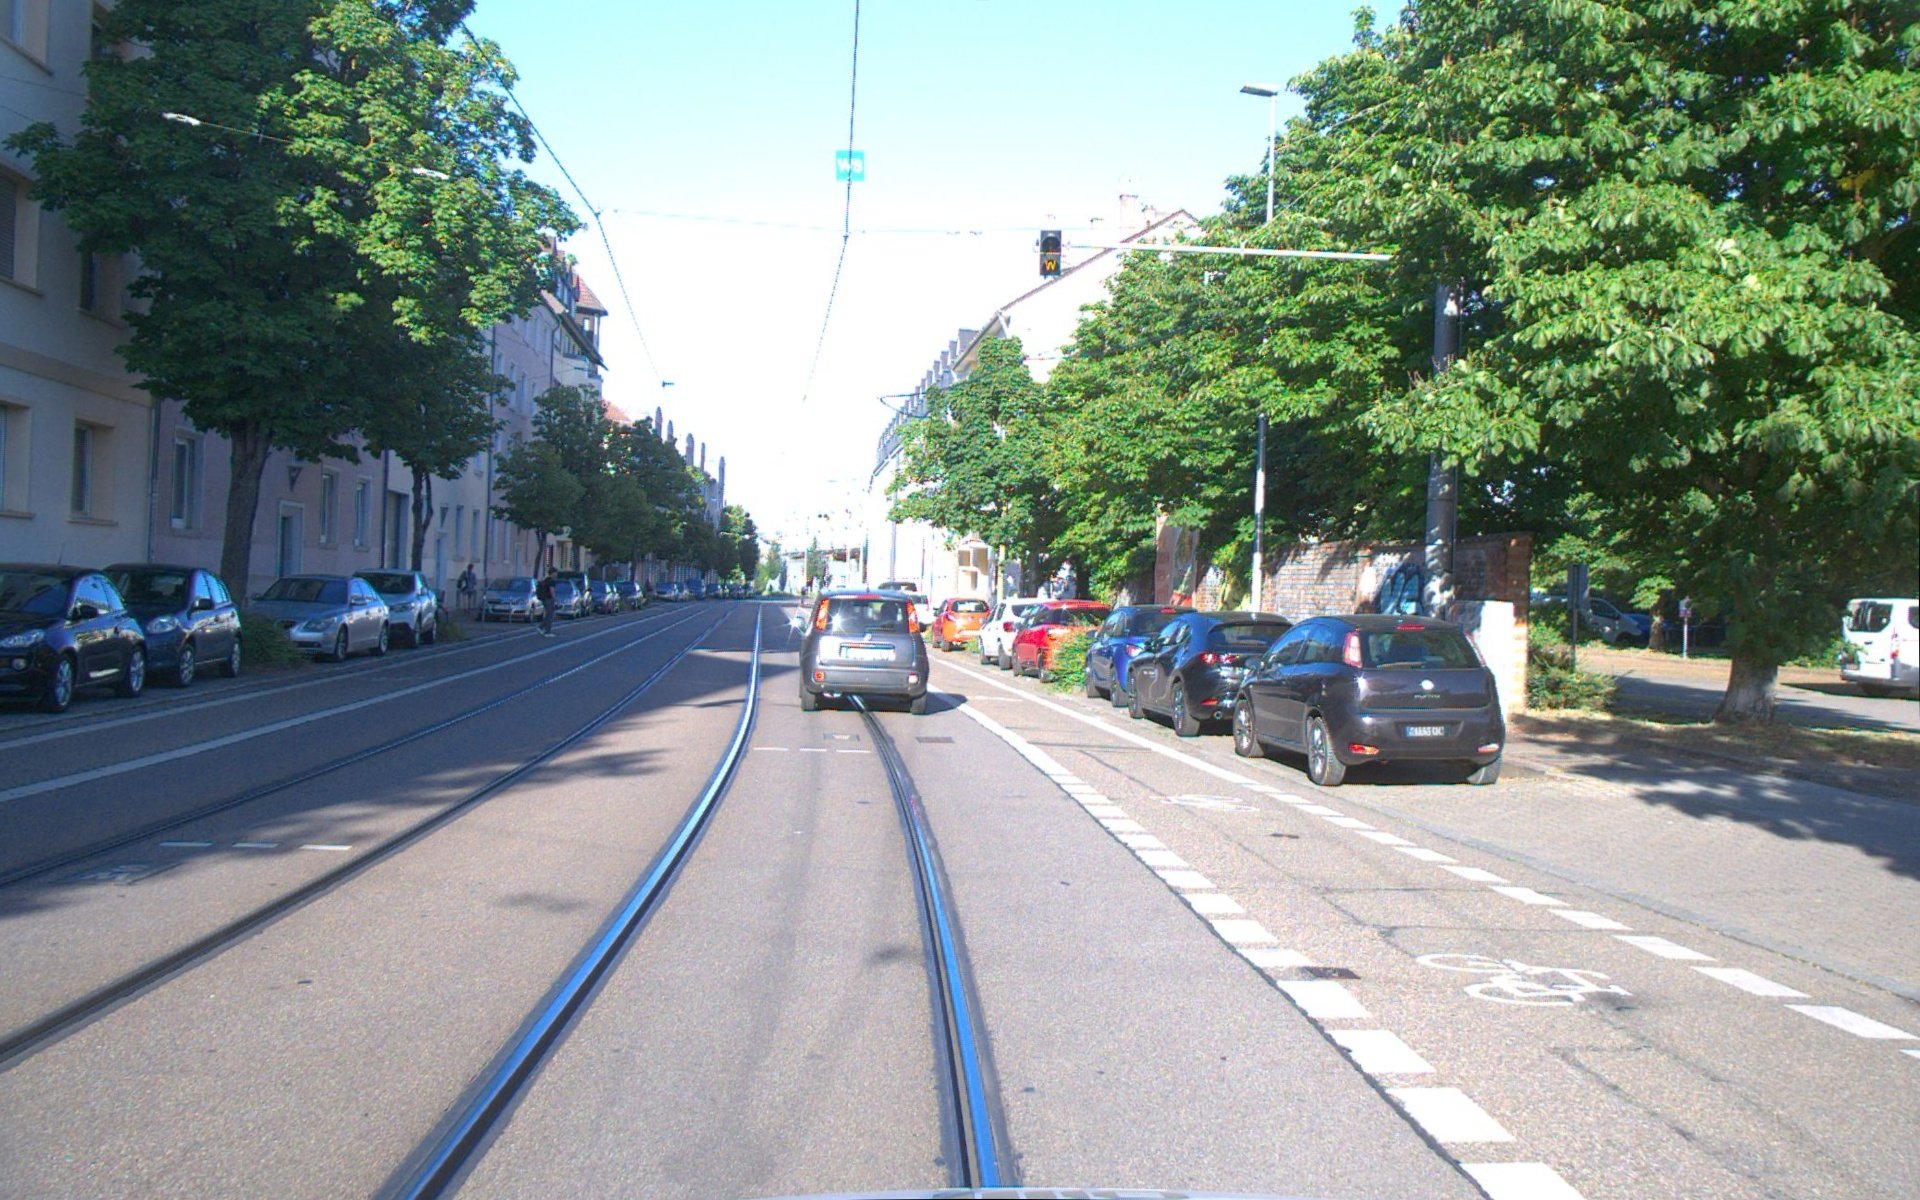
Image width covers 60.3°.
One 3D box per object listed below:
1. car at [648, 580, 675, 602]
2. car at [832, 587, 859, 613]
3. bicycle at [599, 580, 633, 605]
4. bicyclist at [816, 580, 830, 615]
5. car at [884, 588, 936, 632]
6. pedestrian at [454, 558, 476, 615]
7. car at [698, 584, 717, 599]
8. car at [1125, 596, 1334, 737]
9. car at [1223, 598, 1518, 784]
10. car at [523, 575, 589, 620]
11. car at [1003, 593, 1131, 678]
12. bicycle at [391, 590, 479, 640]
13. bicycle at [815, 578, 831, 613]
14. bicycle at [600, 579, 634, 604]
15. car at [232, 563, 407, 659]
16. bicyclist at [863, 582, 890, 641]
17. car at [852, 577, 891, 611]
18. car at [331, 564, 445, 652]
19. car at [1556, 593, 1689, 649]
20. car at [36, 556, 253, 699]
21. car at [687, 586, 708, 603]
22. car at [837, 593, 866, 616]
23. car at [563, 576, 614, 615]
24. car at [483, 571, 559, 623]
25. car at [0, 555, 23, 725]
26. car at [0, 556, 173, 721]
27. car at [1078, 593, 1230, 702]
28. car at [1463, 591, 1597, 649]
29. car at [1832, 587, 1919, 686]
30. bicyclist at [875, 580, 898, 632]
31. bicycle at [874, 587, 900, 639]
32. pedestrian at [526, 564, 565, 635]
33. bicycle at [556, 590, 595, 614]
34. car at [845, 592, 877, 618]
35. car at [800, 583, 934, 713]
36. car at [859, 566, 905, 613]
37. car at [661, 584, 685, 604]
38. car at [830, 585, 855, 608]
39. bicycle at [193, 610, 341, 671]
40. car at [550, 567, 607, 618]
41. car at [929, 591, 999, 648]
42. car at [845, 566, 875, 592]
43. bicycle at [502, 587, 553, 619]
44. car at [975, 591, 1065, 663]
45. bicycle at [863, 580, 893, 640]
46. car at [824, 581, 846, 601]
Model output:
[{"bbox_3d":[-22.671,-0.677,125.624,1.674,1.522,3.717,3,0,-6],"label":"car"},{"bbox_3d":[-7.925,-0.017,114.465,1.553,1.626,3.371,3,0,-8],"label":"car"},{"bbox_3d":[-18.346,-0.388,88.312,1.697,1.217,0.371,3,0,-11],"label":"bicycle"},{"bbox_3d":[-8.362,-0.167,100.603,0.701,2.048,0.830,3,0,-8],"label":"bicyclist"},{"bbox_3d":[-2.000,0.367,65.401,1.624,1.598,3.493,3,0,-7],"label":"car"},{"bbox_3d":[-16.413,-0.435,54.889,0.526,1.858,0.542,3,0,-7],"label":"pedestrian"},{"bbox_3d":[-25.906,-0.879,169.774,1.674,1.522,3.717,3,0,-6],"label":"car"},{"bbox_3d":[3.255,0.747,20.774,1.655,1.557,4.352,1,0,-4],"label":"car"},{"bbox_3d":[3.828,0.778,16.110,1.655,1.557,3.997,1,0,-4],"label":"car"},{"bbox_3d":[-15.282,-0.107,62.769,1.774,1.534,4.674,3,0,-7],"label":"car"},{"bbox_3d":[2.043,0.656,32.655,1.658,1.557,3.991,1,0,-9],"label":"car"},{"bbox_3d":[-12.421,0.355,39.167,1.887,1.064,0.476,3,0,-6],"label":"bicycle"},{"bbox_3d":[-8.346,-0.283,100.533,0.728,2.048,2.807,3,0,-8],"label":"bicycle"},{"bbox_3d":[-18.379,-0.469,88.666,1.697,1.217,0.371,3,0,-11],"label":"bicycle"},{"bbox_3d":[-11.385,0.173,29.715,1.656,1.501,4.654,3,0,-6],"label":"car"},{"bbox_3d":[-2.584,0.357,51.229,0.686,1.789,0.756,3,0,-8],"label":"bicyclist"},{"bbox_3d":[-4.326,-0.313,80.741,1.624,1.526,3.124,3,0,-7],"label":"car"},{"bbox_3d":[-12.137,0.138,35.330,1.622,1.697,4.285,3,0,-11],"label":"car"},{"bbox_3d":[23.877,0.746,59.711,3.910,1.802,1.998,3,0,-6],"label":"car"},{"bbox_3d":[-10.589,0.310,21.737,1.563,1.642,3.721,3,0,-11],"label":"car"},{"bbox_3d":[-24.434,-0.519,154.132,1.674,1.522,3.717,3,0,-6],"label":"car"},{"bbox_3d":[-7.115,0.293,108.315,1.553,1.430,3.371,3,0,-8],"label":"car"},{"bbox_3d":[-16.971,-0.220,75.735,1.774,1.647,4.058,3,0,-7],"label":"car"},{"bbox_3d":[-14.303,-0.119,54.098,1.774,1.534,4.185,3,0,-7],"label":"car"},{"bbox_3d":[-9.493,0.322,13.363,1.655,1.556,3.997,4,0,-3],"label":"car"},{"bbox_3d":[-10.022,0.330,17.753,1.754,1.556,3.850,3,0,-9],"label":"car"},{"bbox_3d":[2.951,0.684,25.907,1.655,1.557,3.997,1,0,-4],"label":"car"},{"bbox_3d":[19.967,0.691,57.988,3.910,1.802,1.998,3,0,-5],"label":"car"},{"bbox_3d":[19.944,0.790,33.294,3.834,1.893,1.805,3,0,-8],"label":"car"},{"bbox_3d":[-2.640,0.208,59.168,0.686,1.789,0.756,3,0,-8],"label":"bicyclist"},{"bbox_3d":[-2.617,0.446,59.125,0.662,1.777,2.154,3,0,-8],"label":"bicycle"},{"bbox_3d":[-10.720,-0.022,42.776,0.839,1.808,0.729,1,1,-27],"label":"pedestrian"},{"bbox_3d":[-16.801,0.095,72.309,1.603,0.953,0.516,3,0,-11],"label":"bicycle"},{"bbox_3d":[-5.761,0.268,95.966,1.553,1.430,3.371,-1,1,-8],"label":"car"},{"bbox_3d":[-1.224,0.569,22.155,1.617,1.568,4.232,0,0,-3],"label":"car"},{"bbox_3d":[-3.566,-0.481,75.276,1.624,1.978,4.657,3,0,-7],"label":"car"},{"bbox_3d":[-24.233,-0.500,139.868,1.674,1.522,3.717,3,0,-6],"label":"car"},{"bbox_3d":[-8.677,-0.269,121.724,1.553,1.626,3.371,3,0,-8],"label":"car"},{"bbox_3d":[-11.026,0.641,26.354,2.087,0.839,0.476,3,0,-8],"label":"bicycle"},{"bbox_3d":[-15.837,-0.325,68.838,1.774,1.977,4.327,3,0,-7],"label":"car"},{"bbox_3d":[0.087,0.533,47.415,1.604,1.534,3.392,0,0,-7],"label":"car"},{"bbox_3d":[-6.122,-1.281,101.255,1.553,1.430,3.371,3,0,-8],"label":"car"},{"bbox_3d":[-15.231,0.103,58.226,1.634,1.019,0.476,3,0,-4],"label":"bicycle"},{"bbox_3d":[1.318,0.580,37.867,1.655,1.557,3.997,1,0,-4],"label":"car"},{"bbox_3d":[-2.542,0.290,51.141,0.662,1.777,2.154,3,0,-8],"label":"bicycle"},{"bbox_3d":[-10.540,-0.775,139.543,1.553,1.626,3.371,3,0,-8],"label":"car"}]
